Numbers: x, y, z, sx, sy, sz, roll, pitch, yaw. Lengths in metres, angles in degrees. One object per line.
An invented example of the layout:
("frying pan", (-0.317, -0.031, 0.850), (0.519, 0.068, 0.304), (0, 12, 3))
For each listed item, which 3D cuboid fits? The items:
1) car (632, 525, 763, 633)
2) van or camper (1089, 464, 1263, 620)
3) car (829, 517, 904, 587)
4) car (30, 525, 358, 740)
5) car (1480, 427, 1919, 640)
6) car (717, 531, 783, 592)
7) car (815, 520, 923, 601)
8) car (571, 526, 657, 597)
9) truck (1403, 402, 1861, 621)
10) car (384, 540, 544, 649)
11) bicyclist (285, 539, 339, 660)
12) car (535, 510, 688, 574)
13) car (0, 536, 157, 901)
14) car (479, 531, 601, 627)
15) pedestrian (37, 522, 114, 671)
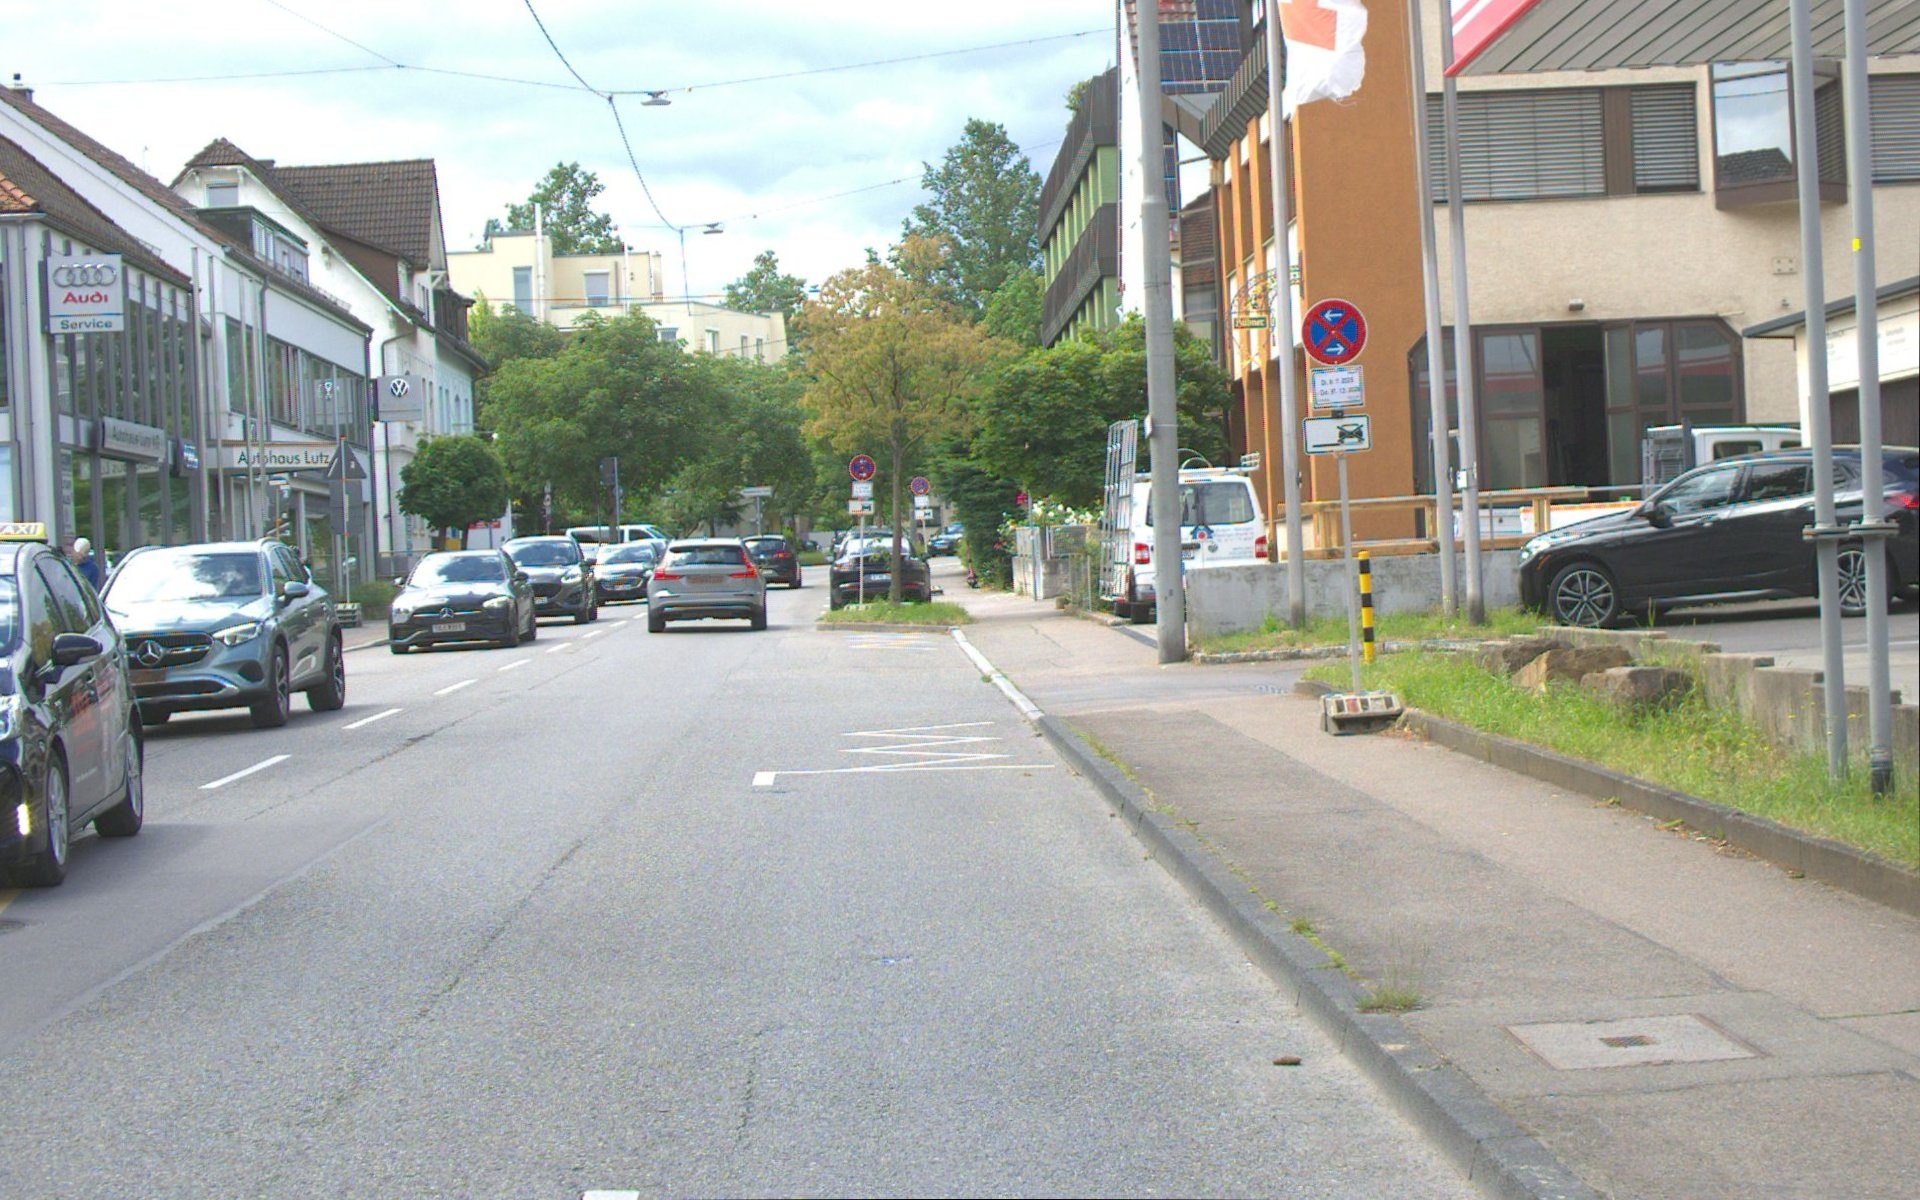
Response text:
("car", (-4.170, -0.300, 55.130), (1.956, 1.518, 4.329), (-2, -2, -3))
("van or camper", (2.936, -0.779, 47.676), (1.867, 2.025, 4.548), (-1, 0, -3))
("car", (-2.341, -1.204, 87.017), (1.690, 1.661, 4.462), (-3, 1, 0))
("car", (-6.700, 0.218, 30.561), (1.865, 1.612, 4.535), (-3, 2, -1))
("car", (7.234, -0.632, 32.071), (4.313, 1.625, 1.633), (-4, 2, 34))
("car", (-5.591, -1.023, 91.214), (1.614, 1.518, 3.570), (-3, 1, -4))
("car", (-1.805, -0.769, 67.598), (1.984, 1.443, 4.752), (-3, 1, -2))
("car", (-8.056, -0.888, 80.310), (1.831, 1.518, 4.171), (-3, 1, -4))
("truck", (8.206, -1.108, 42.350), (5.087, 2.449, 2.357), (-2, 2, -2))
("car", (-7.295, -0.115, 50.950), (1.740, 1.424, 4.524), (-3, 1, -1))
("bicyclist", (-7.923, -0.013, 42.070), (0.469, 1.444, 0.865), (-4, 1, -5))
("car", (-13.194, -2.197, 130.200), (5.216, 1.986, 2.107), (-4, 1, 16))
("car", (-5.101, 0.504, 16.524), (1.865, 1.522, 4.529), (-3, 1, -7))
("car", (-7.751, -0.421, 63.782), (1.831, 1.624, 4.321), (-3, 2, -2))
("pedestrian", (-10.512, -0.041, 40.876), (0.682, 1.731, 0.868), (-1, 0, -2))
